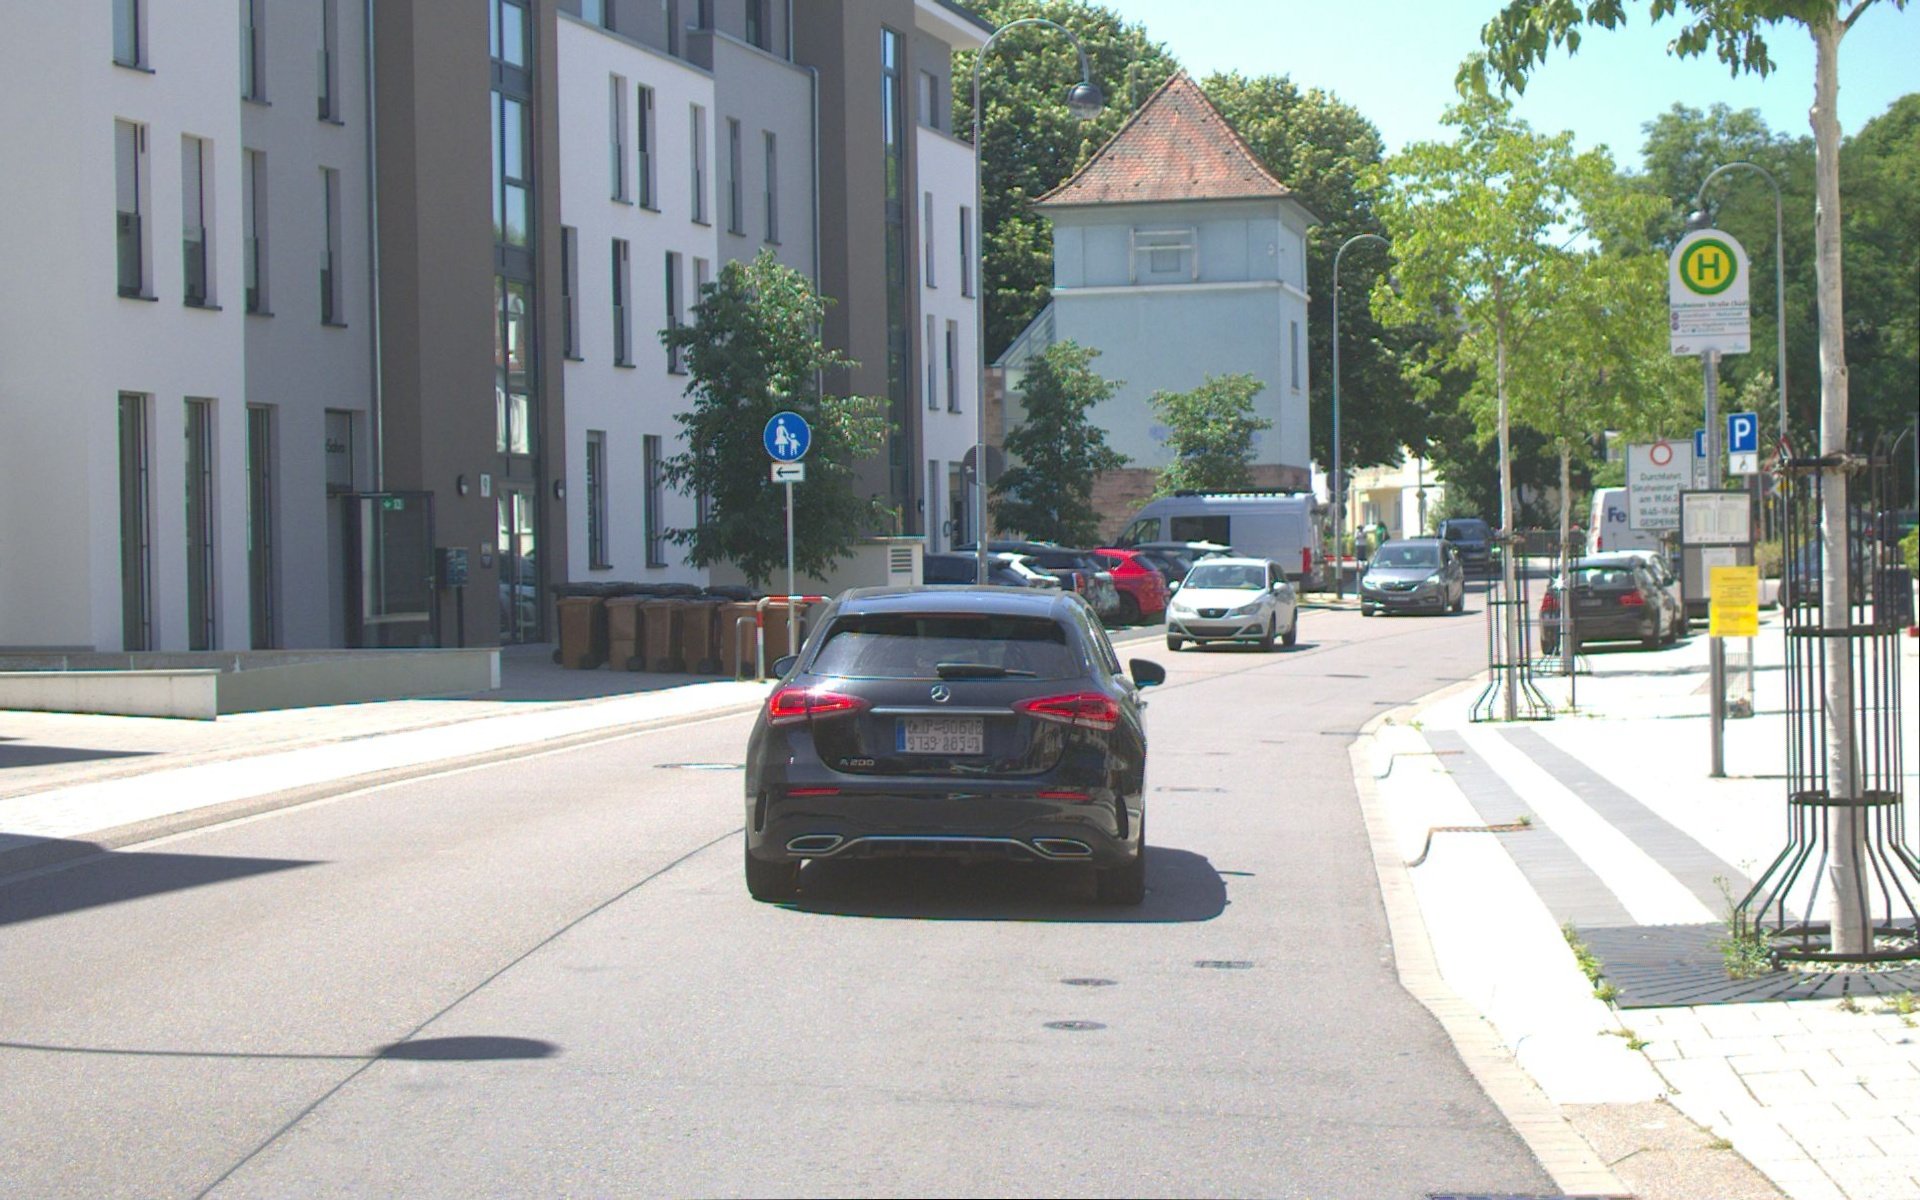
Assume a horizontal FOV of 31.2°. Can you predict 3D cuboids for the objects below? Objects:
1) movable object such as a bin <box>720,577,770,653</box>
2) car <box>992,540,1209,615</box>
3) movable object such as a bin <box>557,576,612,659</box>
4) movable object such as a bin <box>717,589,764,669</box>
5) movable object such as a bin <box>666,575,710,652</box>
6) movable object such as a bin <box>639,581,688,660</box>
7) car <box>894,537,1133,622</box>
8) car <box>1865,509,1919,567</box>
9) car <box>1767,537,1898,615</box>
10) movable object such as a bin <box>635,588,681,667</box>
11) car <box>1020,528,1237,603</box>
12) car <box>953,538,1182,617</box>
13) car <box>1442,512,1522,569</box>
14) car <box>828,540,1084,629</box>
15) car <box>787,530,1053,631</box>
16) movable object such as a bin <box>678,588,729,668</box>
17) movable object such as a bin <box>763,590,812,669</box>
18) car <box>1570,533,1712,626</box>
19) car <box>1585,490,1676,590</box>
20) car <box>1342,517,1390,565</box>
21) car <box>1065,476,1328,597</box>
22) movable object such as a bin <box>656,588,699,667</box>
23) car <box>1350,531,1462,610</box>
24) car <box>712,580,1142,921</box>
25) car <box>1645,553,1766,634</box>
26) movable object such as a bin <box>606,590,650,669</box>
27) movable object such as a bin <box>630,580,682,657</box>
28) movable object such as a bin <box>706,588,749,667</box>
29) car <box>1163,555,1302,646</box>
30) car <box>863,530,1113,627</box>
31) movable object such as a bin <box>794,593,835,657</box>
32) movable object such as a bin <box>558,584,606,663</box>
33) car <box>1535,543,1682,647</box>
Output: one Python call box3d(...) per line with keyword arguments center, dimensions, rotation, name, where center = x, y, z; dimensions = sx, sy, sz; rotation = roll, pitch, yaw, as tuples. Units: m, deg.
box3d(center=(-2.903, 0.201, 46.397), dimensions=(0.554, 1.016, 0.560), rotation=(0, 1, 10), name="movable object such as a bin")
box3d(center=(2.903, -0.474, 70.536), dimensions=(4.201, 1.432, 1.885), rotation=(1, 1, 11), name="car")
box3d(center=(-5.000, 0.230, 45.790), dimensions=(0.692, 1.092, 0.648), rotation=(0, 1, -3), name="movable object such as a bin")
box3d(center=(-2.768, 0.366, 43.308), dimensions=(0.483, 0.994, 0.588), rotation=(0, 1, 7), name="movable object such as a bin")
box3d(center=(-3.737, 0.181, 47.222), dimensions=(0.575, 1.035, 0.550), rotation=(0, 1, -3), name="movable object such as a bin")
box3d(center=(-3.951, 0.274, 45.864), dimensions=(0.619, 1.035, 0.583), rotation=(0, 1, -3), name="movable object such as a bin")
box3d(center=(1.014, -0.405, 63.964), dimensions=(4.035, 1.491, 1.998), rotation=(1, 1, 17), name="car")
box3d(center=(28.998, -1.833, 102.017), dimensions=(4.077, 1.710, 1.855), rotation=(1, 1, 13), name="car")
box3d(center=(19.185, -0.538, 75.497), dimensions=(1.875, 1.486, 3.856), rotation=(-2, 2, 28), name="car")
box3d(center=(-3.833, 0.344, 43.588), dimensions=(0.425, 0.994, 0.523), rotation=(0, 1, 14), name="movable object such as a bin")
box3d(center=(3.742, -0.777, 76.086), dimensions=(4.456, 1.586, 1.999), rotation=(1, 1, 15), name="car")
box3d(center=(2.090, -0.455, 66.412), dimensions=(4.035, 1.425, 1.998), rotation=(1, 1, 17), name="car")
box3d(center=(16.119, -1.830, 106.043), dimensions=(1.812, 1.695, 4.072), rotation=(0, 1, 18), name="car")
box3d(center=(-0.056, -0.280, 58.734), dimensions=(3.990, 1.416, 1.909), rotation=(1, 1, 15), name="car")
box3d(center=(-0.636, -0.344, 56.515), dimensions=(3.990, 1.510, 1.999), rotation=(1, 3, 15), name="car")
box3d(center=(-3.252, 0.353, 43.606), dimensions=(0.483, 0.994, 0.587), rotation=(0, 1, 13), name="movable object such as a bin")
box3d(center=(-2.205, 0.379, 43.970), dimensions=(0.483, 0.994, 0.587), rotation=(0, 1, 13), name="movable object such as a bin")
box3d(center=(11.785, -0.374, 59.331), dimensions=(1.739, 1.481, 4.050), rotation=(-3, 0, 20), name="car")
box3d(center=(18.581, -1.692, 95.111), dimensions=(2.129, 2.620, 5.275), rotation=(-1, 1, 14), name="car")
box3d(center=(17.640, -2.543, 149.500), dimensions=(1.994, 2.007, 3.999), rotation=(1, 0, 6), name="car")
box3d(center=(5.552, -1.501, 80.414), dimensions=(5.771, 2.723, 2.290), rotation=(1, 1, 16), name="car")
box3d(center=(-3.625, 0.351, 44.126), dimensions=(0.403, 0.994, 0.555), rotation=(0, 1, 13), name="movable object such as a bin")
box3d(center=(9.756, -0.656, 74.953), dimensions=(1.943, 1.653, 4.233), rotation=(1, 1, 14), name="car")
box3d(center=(-0.092, 0.627, 16.605), dimensions=(1.828, 1.437, 4.000), rotation=(0, 0, 1), name="car")
box3d(center=(14.201, -0.145, 65.334), dimensions=(1.726, 1.400, 4.605), rotation=(-2, 1, 18), name="car")
box3d(center=(-4.252, 0.377, 44.042), dimensions=(0.403, 0.994, 0.555), rotation=(0, 1, 13), name="movable object such as a bin")
box3d(center=(-4.117, 0.247, 46.559), dimensions=(0.675, 1.035, 0.605), rotation=(0, 1, -3), name="movable object such as a bin")
box3d(center=(-2.968, 0.343, 43.928), dimensions=(0.403, 0.994, 0.555), rotation=(0, 1, 13), name="movable object such as a bin")
box3d(center=(4.381, -0.016, 54.870), dimensions=(1.668, 1.391, 3.845), rotation=(0, 1, 13), name="car")
box3d(center=(0.514, -0.403, 61.190), dimensions=(4.035, 1.645, 1.998), rotation=(1, 1, 17), name="car")
box3d(center=(-2.016, 0.346, 47.503), dimensions=(0.554, 0.865, 0.482), rotation=(0, 1, -3), name="movable object such as a bin")
box3d(center=(-4.863, 0.299, 44.260), dimensions=(0.483, 0.994, 0.588), rotation=(0, 1, 7), name="movable object such as a bin")
box3d(center=(10.077, -0.084, 53.230), dimensions=(1.834, 1.477, 4.092), rotation=(-3, 0, 16), name="car")
